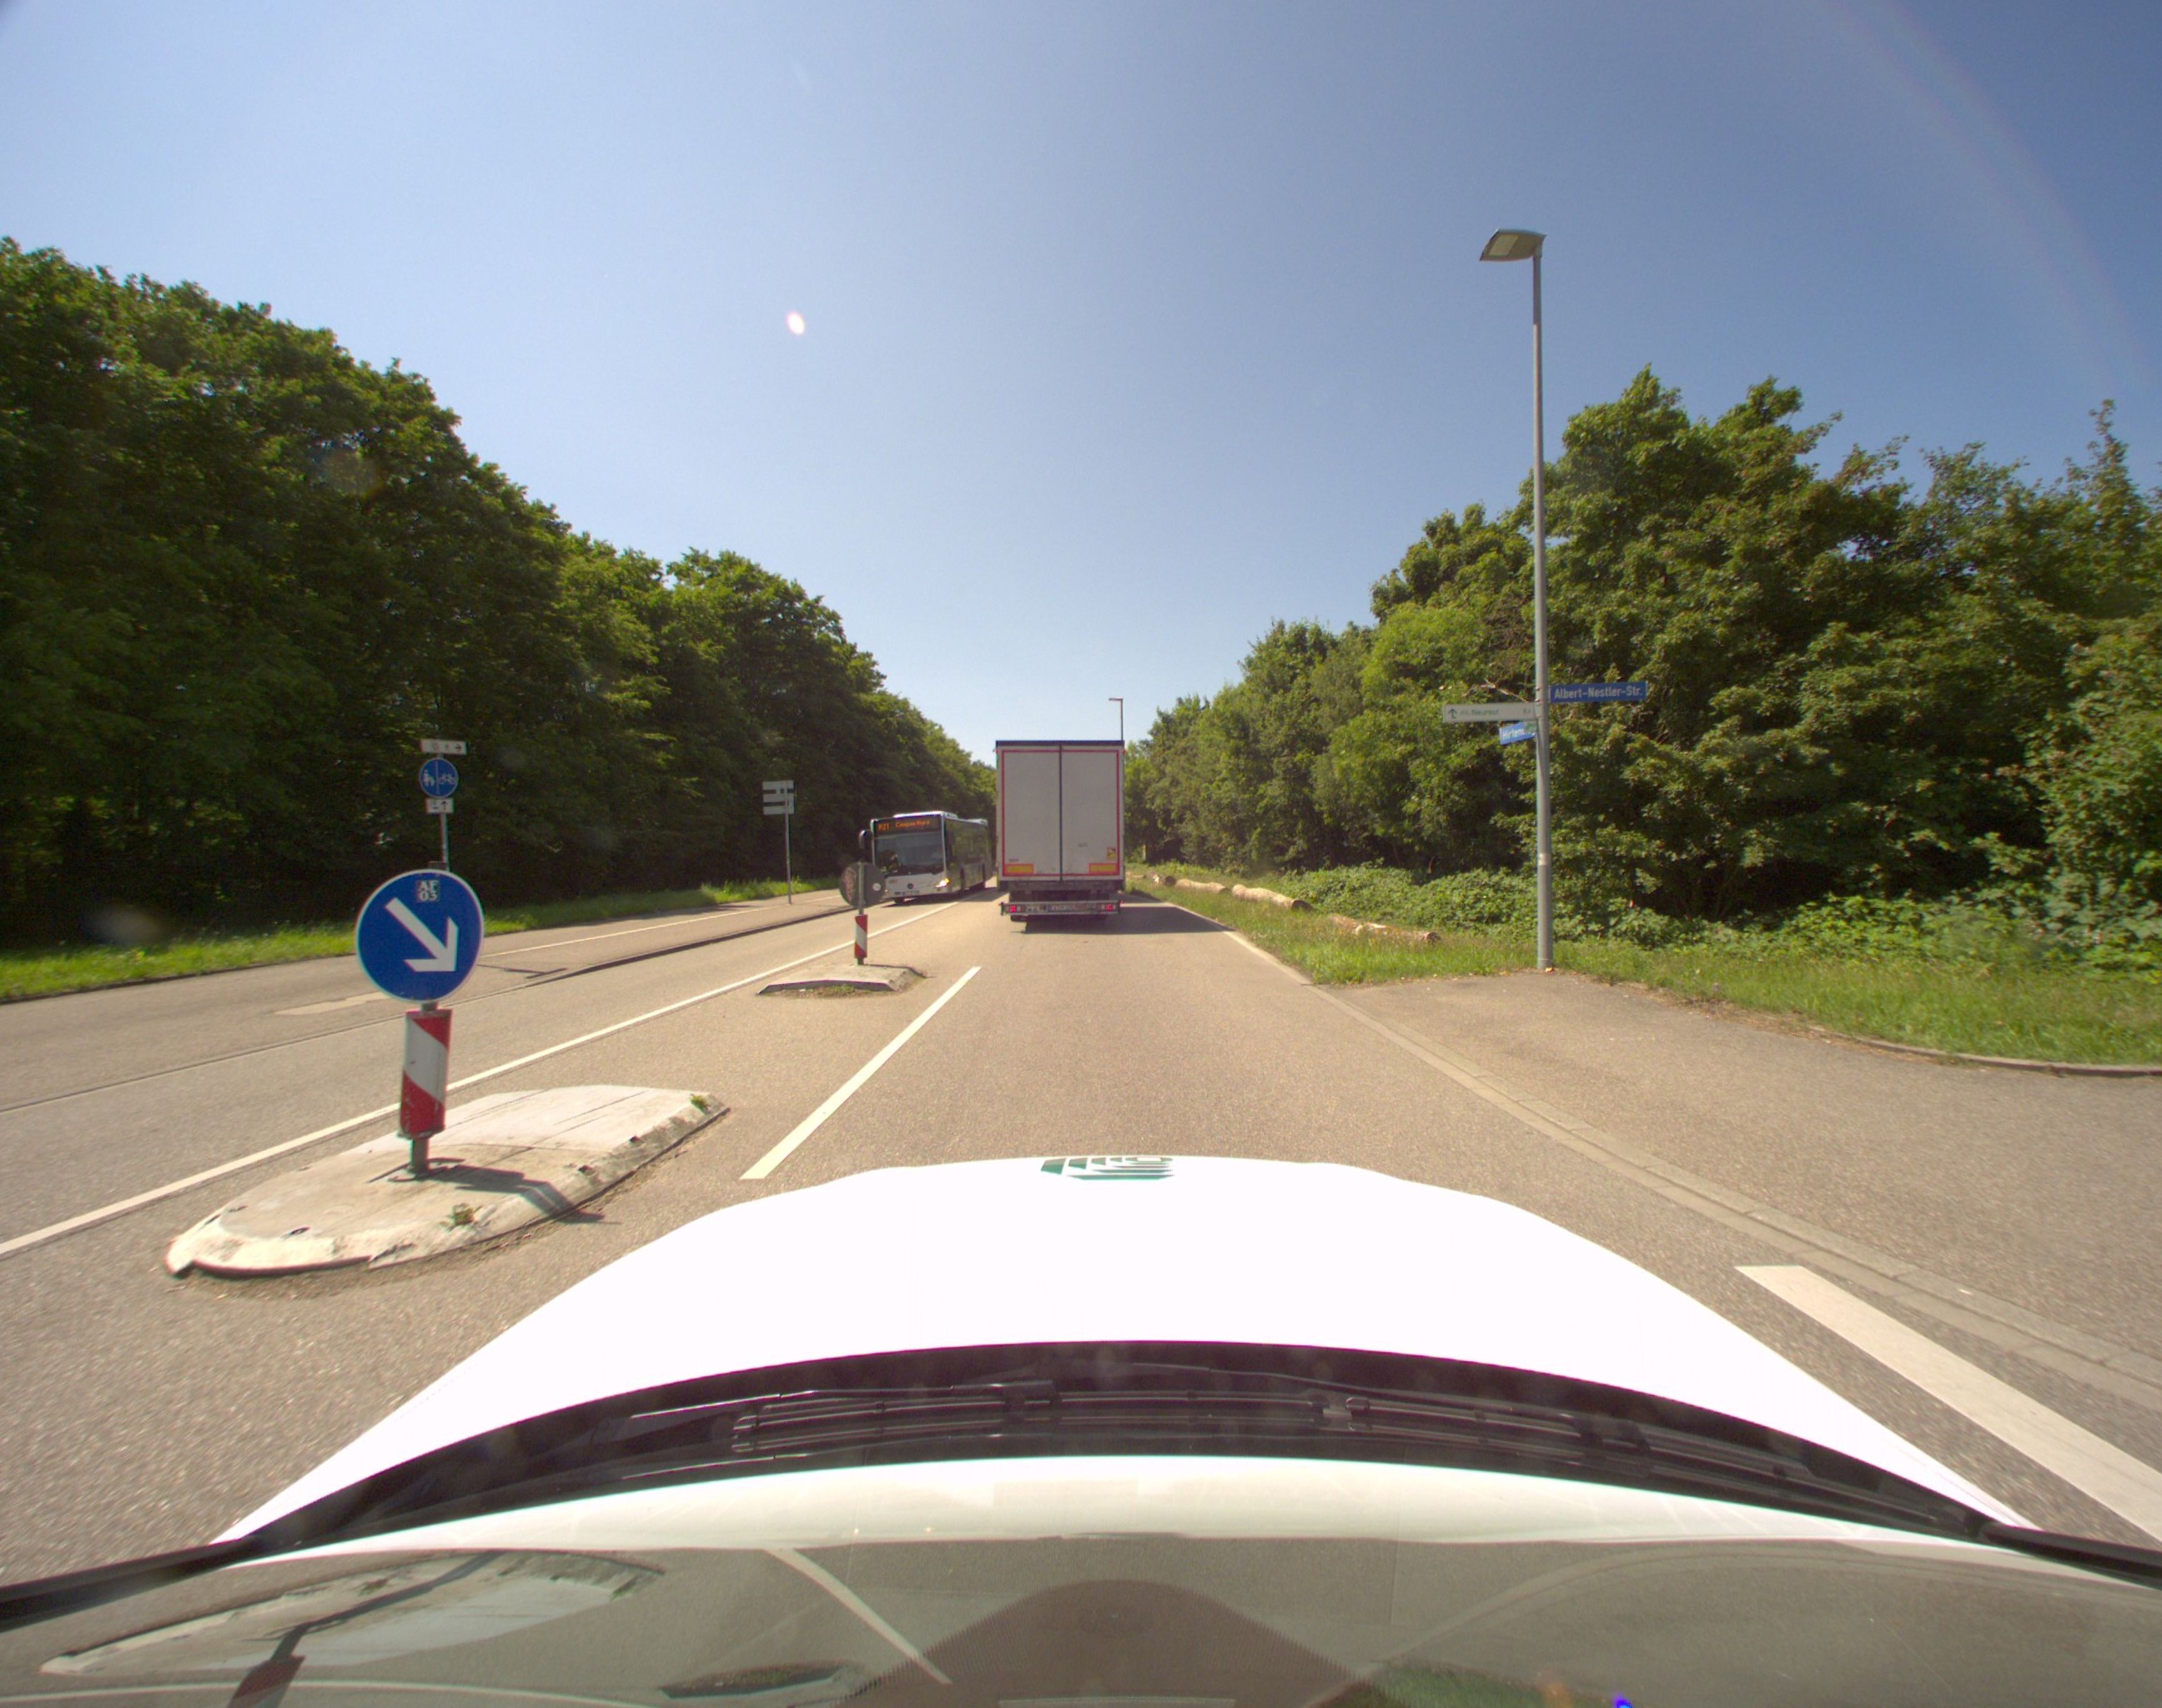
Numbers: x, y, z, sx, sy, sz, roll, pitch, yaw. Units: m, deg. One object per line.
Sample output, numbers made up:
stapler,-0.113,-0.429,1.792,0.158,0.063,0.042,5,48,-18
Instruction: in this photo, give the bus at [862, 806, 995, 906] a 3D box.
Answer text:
bus,-5.519,0.031,32.107,2.741,3.045,11.937,-4,0,0

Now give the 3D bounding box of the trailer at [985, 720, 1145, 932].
trailer,-0.553,-0.587,20.673,3.070,4.069,9.797,0,0,-3
